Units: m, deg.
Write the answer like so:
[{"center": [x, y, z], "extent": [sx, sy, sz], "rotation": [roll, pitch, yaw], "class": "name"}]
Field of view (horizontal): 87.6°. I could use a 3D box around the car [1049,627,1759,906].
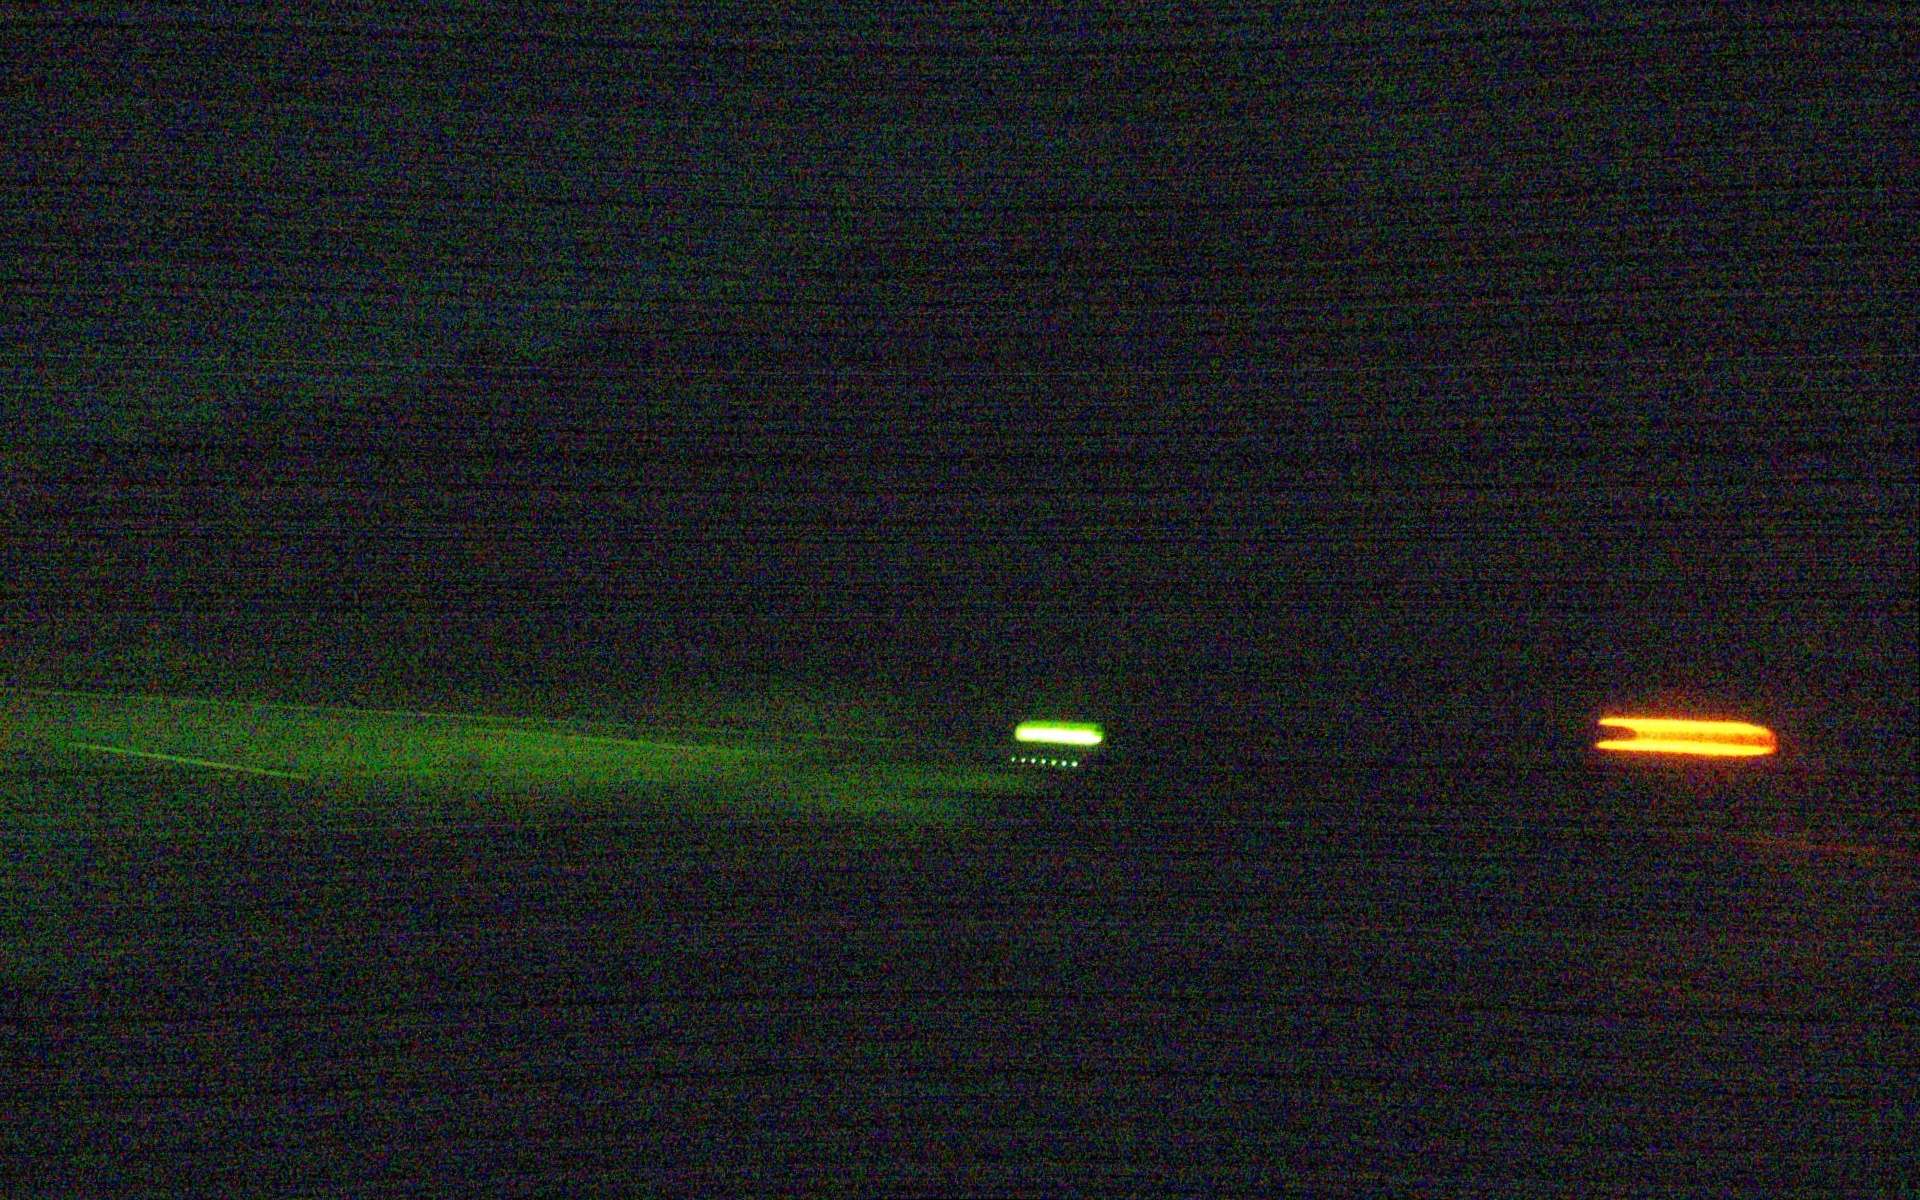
[{"center": [2.913, 0.959, 7.207], "extent": [4.185, 1.484, 1.819], "rotation": [-1, -2, 31], "class": "car"}]
